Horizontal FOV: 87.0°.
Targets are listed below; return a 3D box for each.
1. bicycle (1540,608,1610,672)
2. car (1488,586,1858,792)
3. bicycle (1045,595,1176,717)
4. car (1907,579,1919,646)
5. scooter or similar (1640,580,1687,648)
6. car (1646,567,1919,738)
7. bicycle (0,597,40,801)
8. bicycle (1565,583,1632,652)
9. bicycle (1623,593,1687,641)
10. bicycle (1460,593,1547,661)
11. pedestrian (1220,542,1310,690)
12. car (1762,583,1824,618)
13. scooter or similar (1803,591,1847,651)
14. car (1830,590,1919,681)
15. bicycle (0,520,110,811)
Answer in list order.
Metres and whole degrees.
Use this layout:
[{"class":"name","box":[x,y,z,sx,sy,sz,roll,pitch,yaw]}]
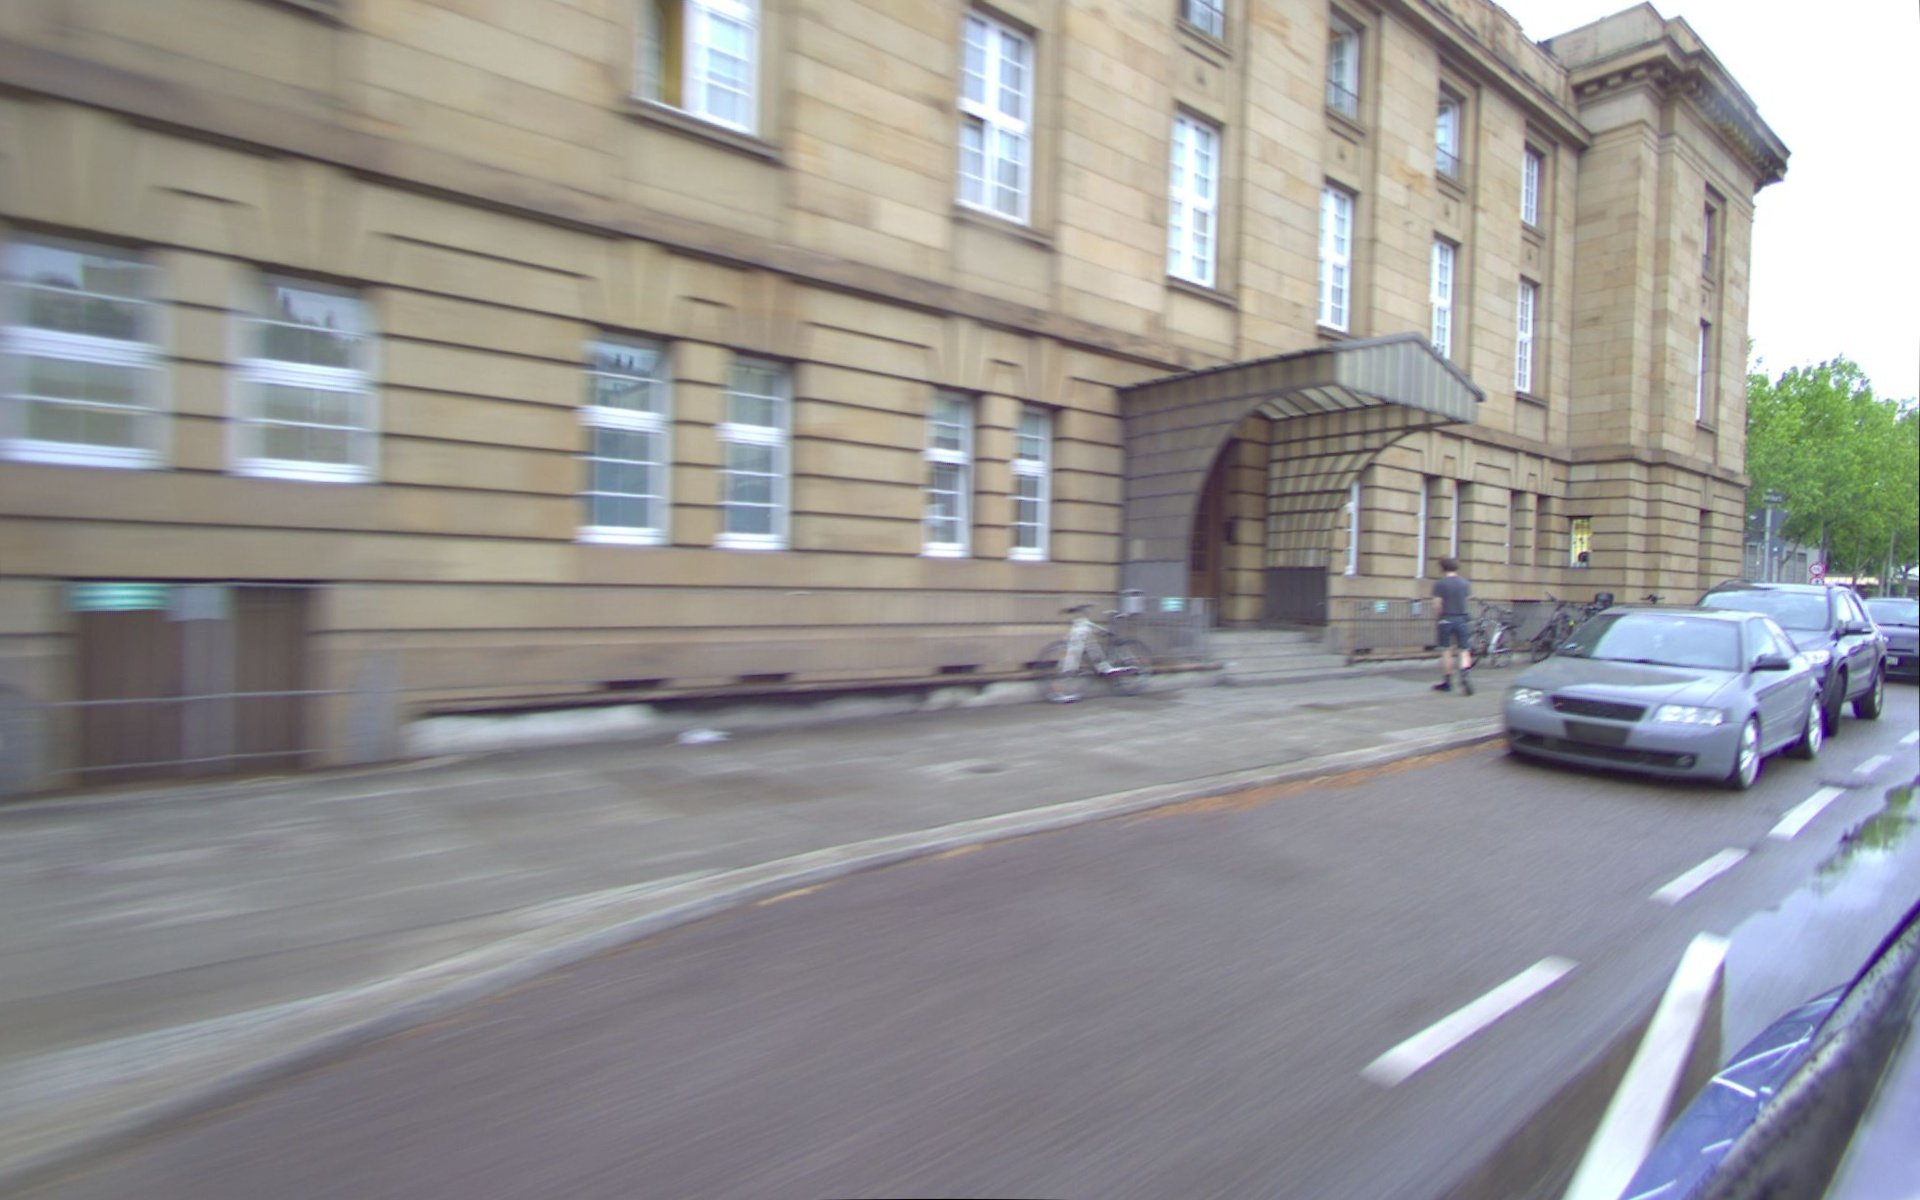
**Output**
[{"class":"bicycle","box":[11.287,0.702,18.546,0.712,1.064,1.712,1,2,45]},{"class":"car","box":[6.716,0.633,9.428,3.637,1.496,1.936,-1,2,-40]},{"class":"bicycle","box":[1.679,0.576,11.127,1.663,1.230,0.464,-1,1,-42]},{"class":"car","box":[25.664,0.345,25.686,4.327,1.639,1.875,0,2,-41]},{"class":"scooter or similar","box":[15.529,0.293,22.337,1.244,1.434,0.414,-1,4,-37]},{"class":"car","box":[10.544,0.504,12.731,4.112,1.803,1.999,-1,2,-38]},{"class":"bicycle","box":[-5.826,0.540,5.085,1.758,1.093,0.352,-1,1,-41]},{"class":"bicycle","box":[12.572,0.309,19.907,0.730,1.284,1.730,2,2,45]},{"class":"bicycle","box":[15.869,0.375,23.110,1.735,1.063,0.420,0,1,-27]},{"class":"bicycle","box":[9.001,0.426,16.736,1.726,1.051,0.585,-1,1,-37]},{"class":"pedestrian","box":[3.888,0.180,12.926,0.630,1.798,0.797,0,4,-40]},{"class":"car","box":[38.838,-0.005,47.197,2.966,1.556,1.586,-1,3,-38]},{"class":"scooter or similar","box":[19.584,0.460,22.923,0.430,1.309,1.247,1,1,26]},{"class":"car","box":[17.493,0.612,18.379,3.092,1.430,1.766,-1,6,-35]},{"class":"bicycle","box":[-5.470,0.345,5.282,1.572,1.535,0.454,0,-1,-42]}]
